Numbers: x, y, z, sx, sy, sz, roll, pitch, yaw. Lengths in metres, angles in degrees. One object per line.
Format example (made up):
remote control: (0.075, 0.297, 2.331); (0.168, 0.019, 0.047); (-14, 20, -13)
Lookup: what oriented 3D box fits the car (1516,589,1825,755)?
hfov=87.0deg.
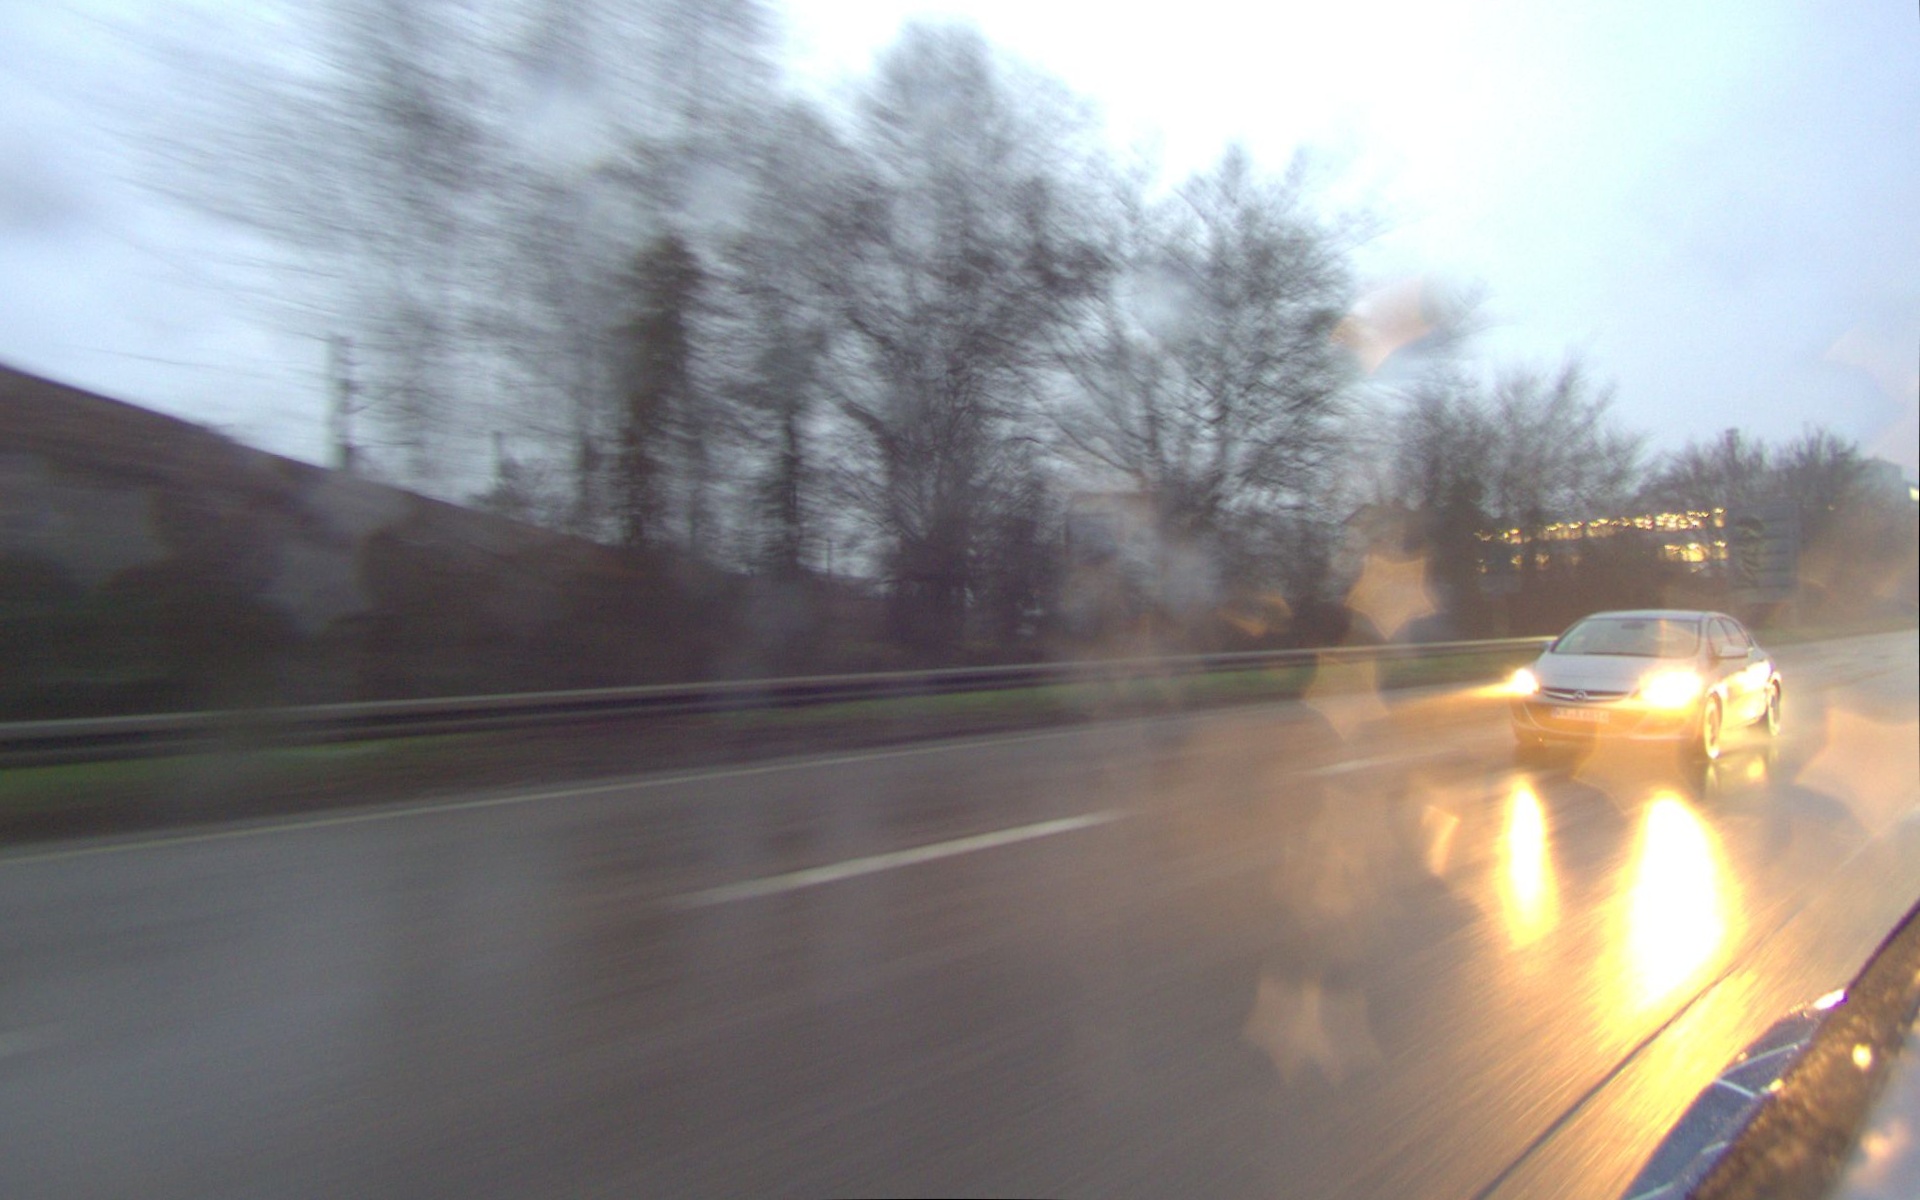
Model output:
car: (8.346, 0.701, 11.755); (4.187, 1.521, 1.853); (-2, -1, -40)
